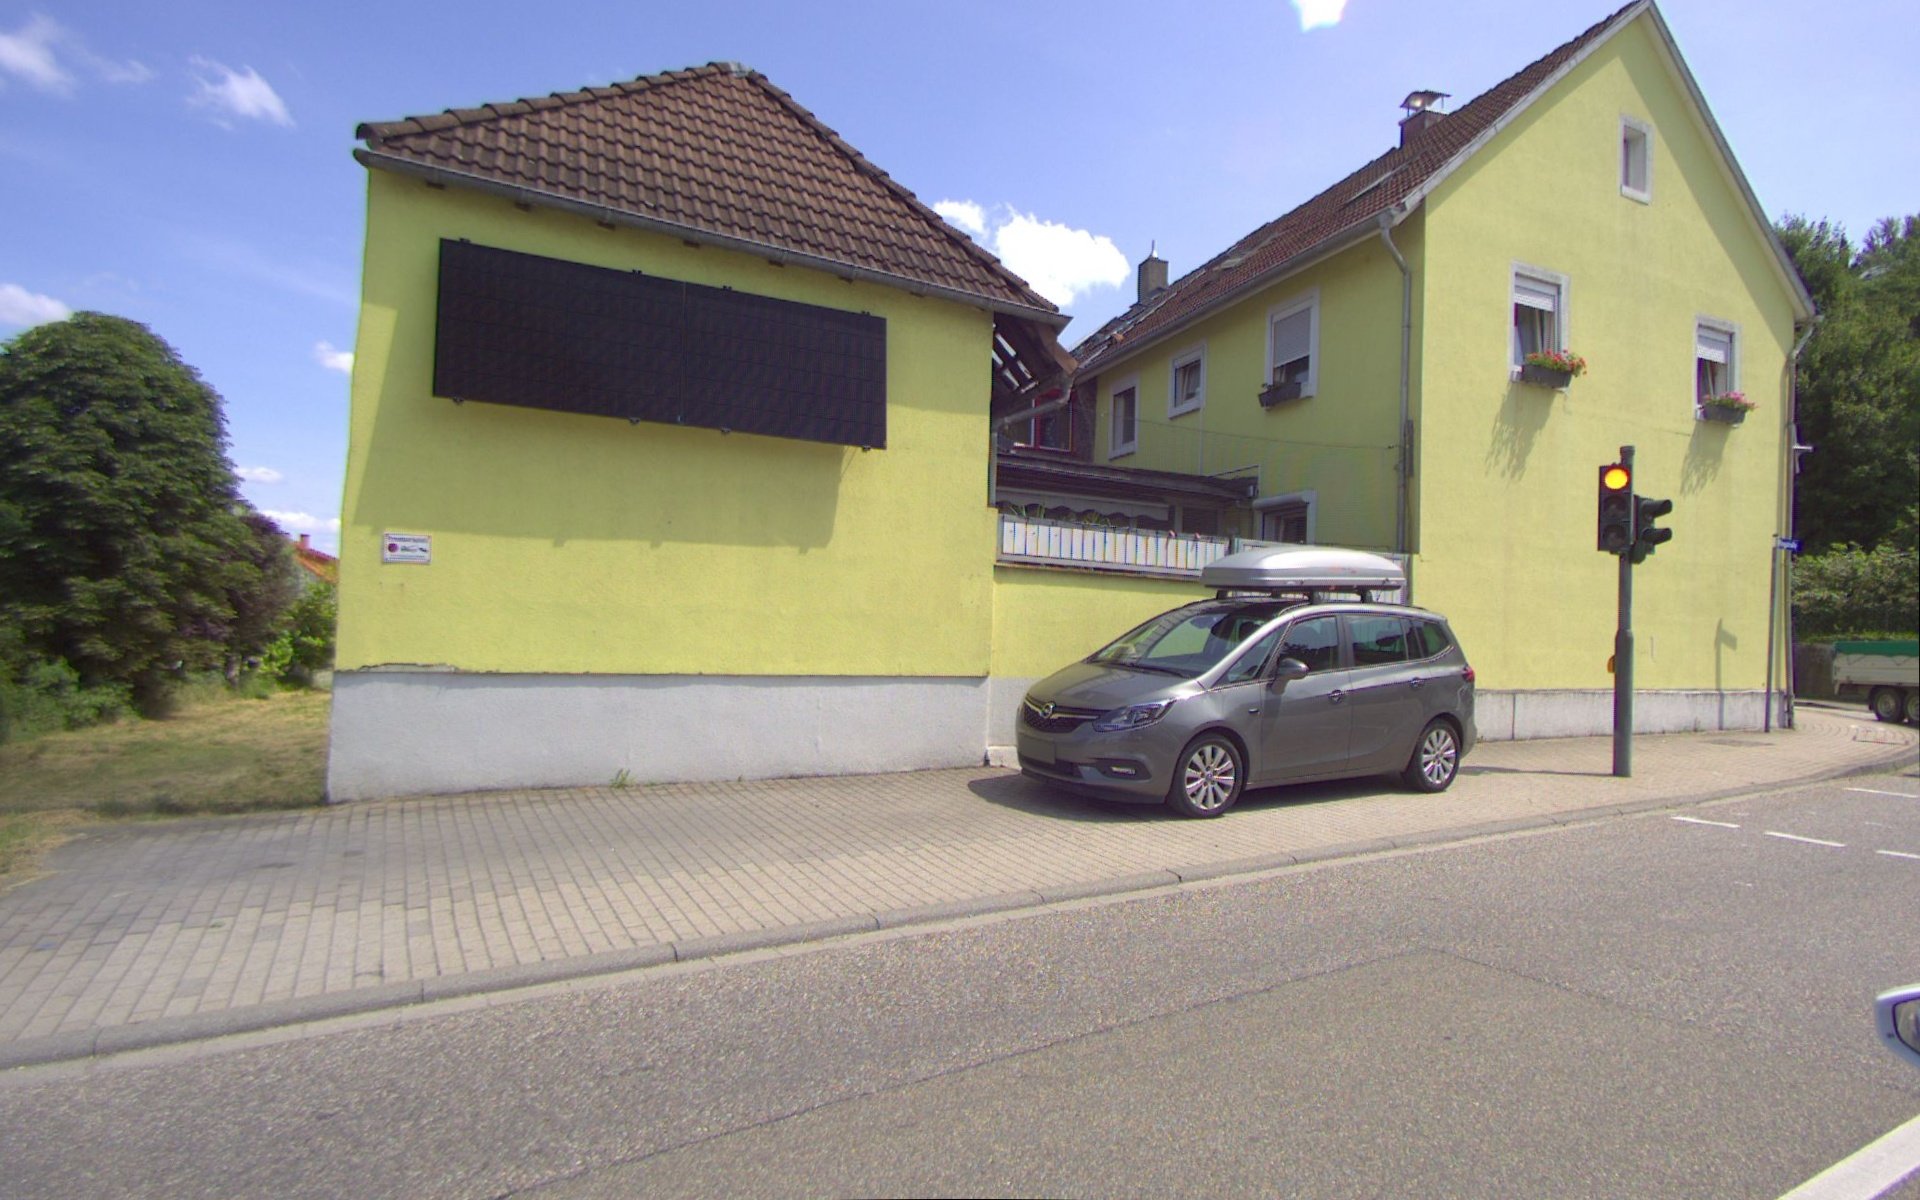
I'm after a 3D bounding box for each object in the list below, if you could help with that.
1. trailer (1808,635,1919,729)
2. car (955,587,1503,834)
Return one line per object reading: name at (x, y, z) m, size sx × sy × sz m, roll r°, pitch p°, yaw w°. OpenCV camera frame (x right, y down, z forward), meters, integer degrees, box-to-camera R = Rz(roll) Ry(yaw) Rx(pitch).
trailer at (17.047, 1.384, 17.025) m, size 1.939 × 1.559 × 4.449 m, roll 0°, pitch -2°, yaw 7°
car at (2.441, 0.797, 8.820) m, size 4.575 × 1.657 × 1.984 m, roll 2°, pitch 1°, yaw -30°
